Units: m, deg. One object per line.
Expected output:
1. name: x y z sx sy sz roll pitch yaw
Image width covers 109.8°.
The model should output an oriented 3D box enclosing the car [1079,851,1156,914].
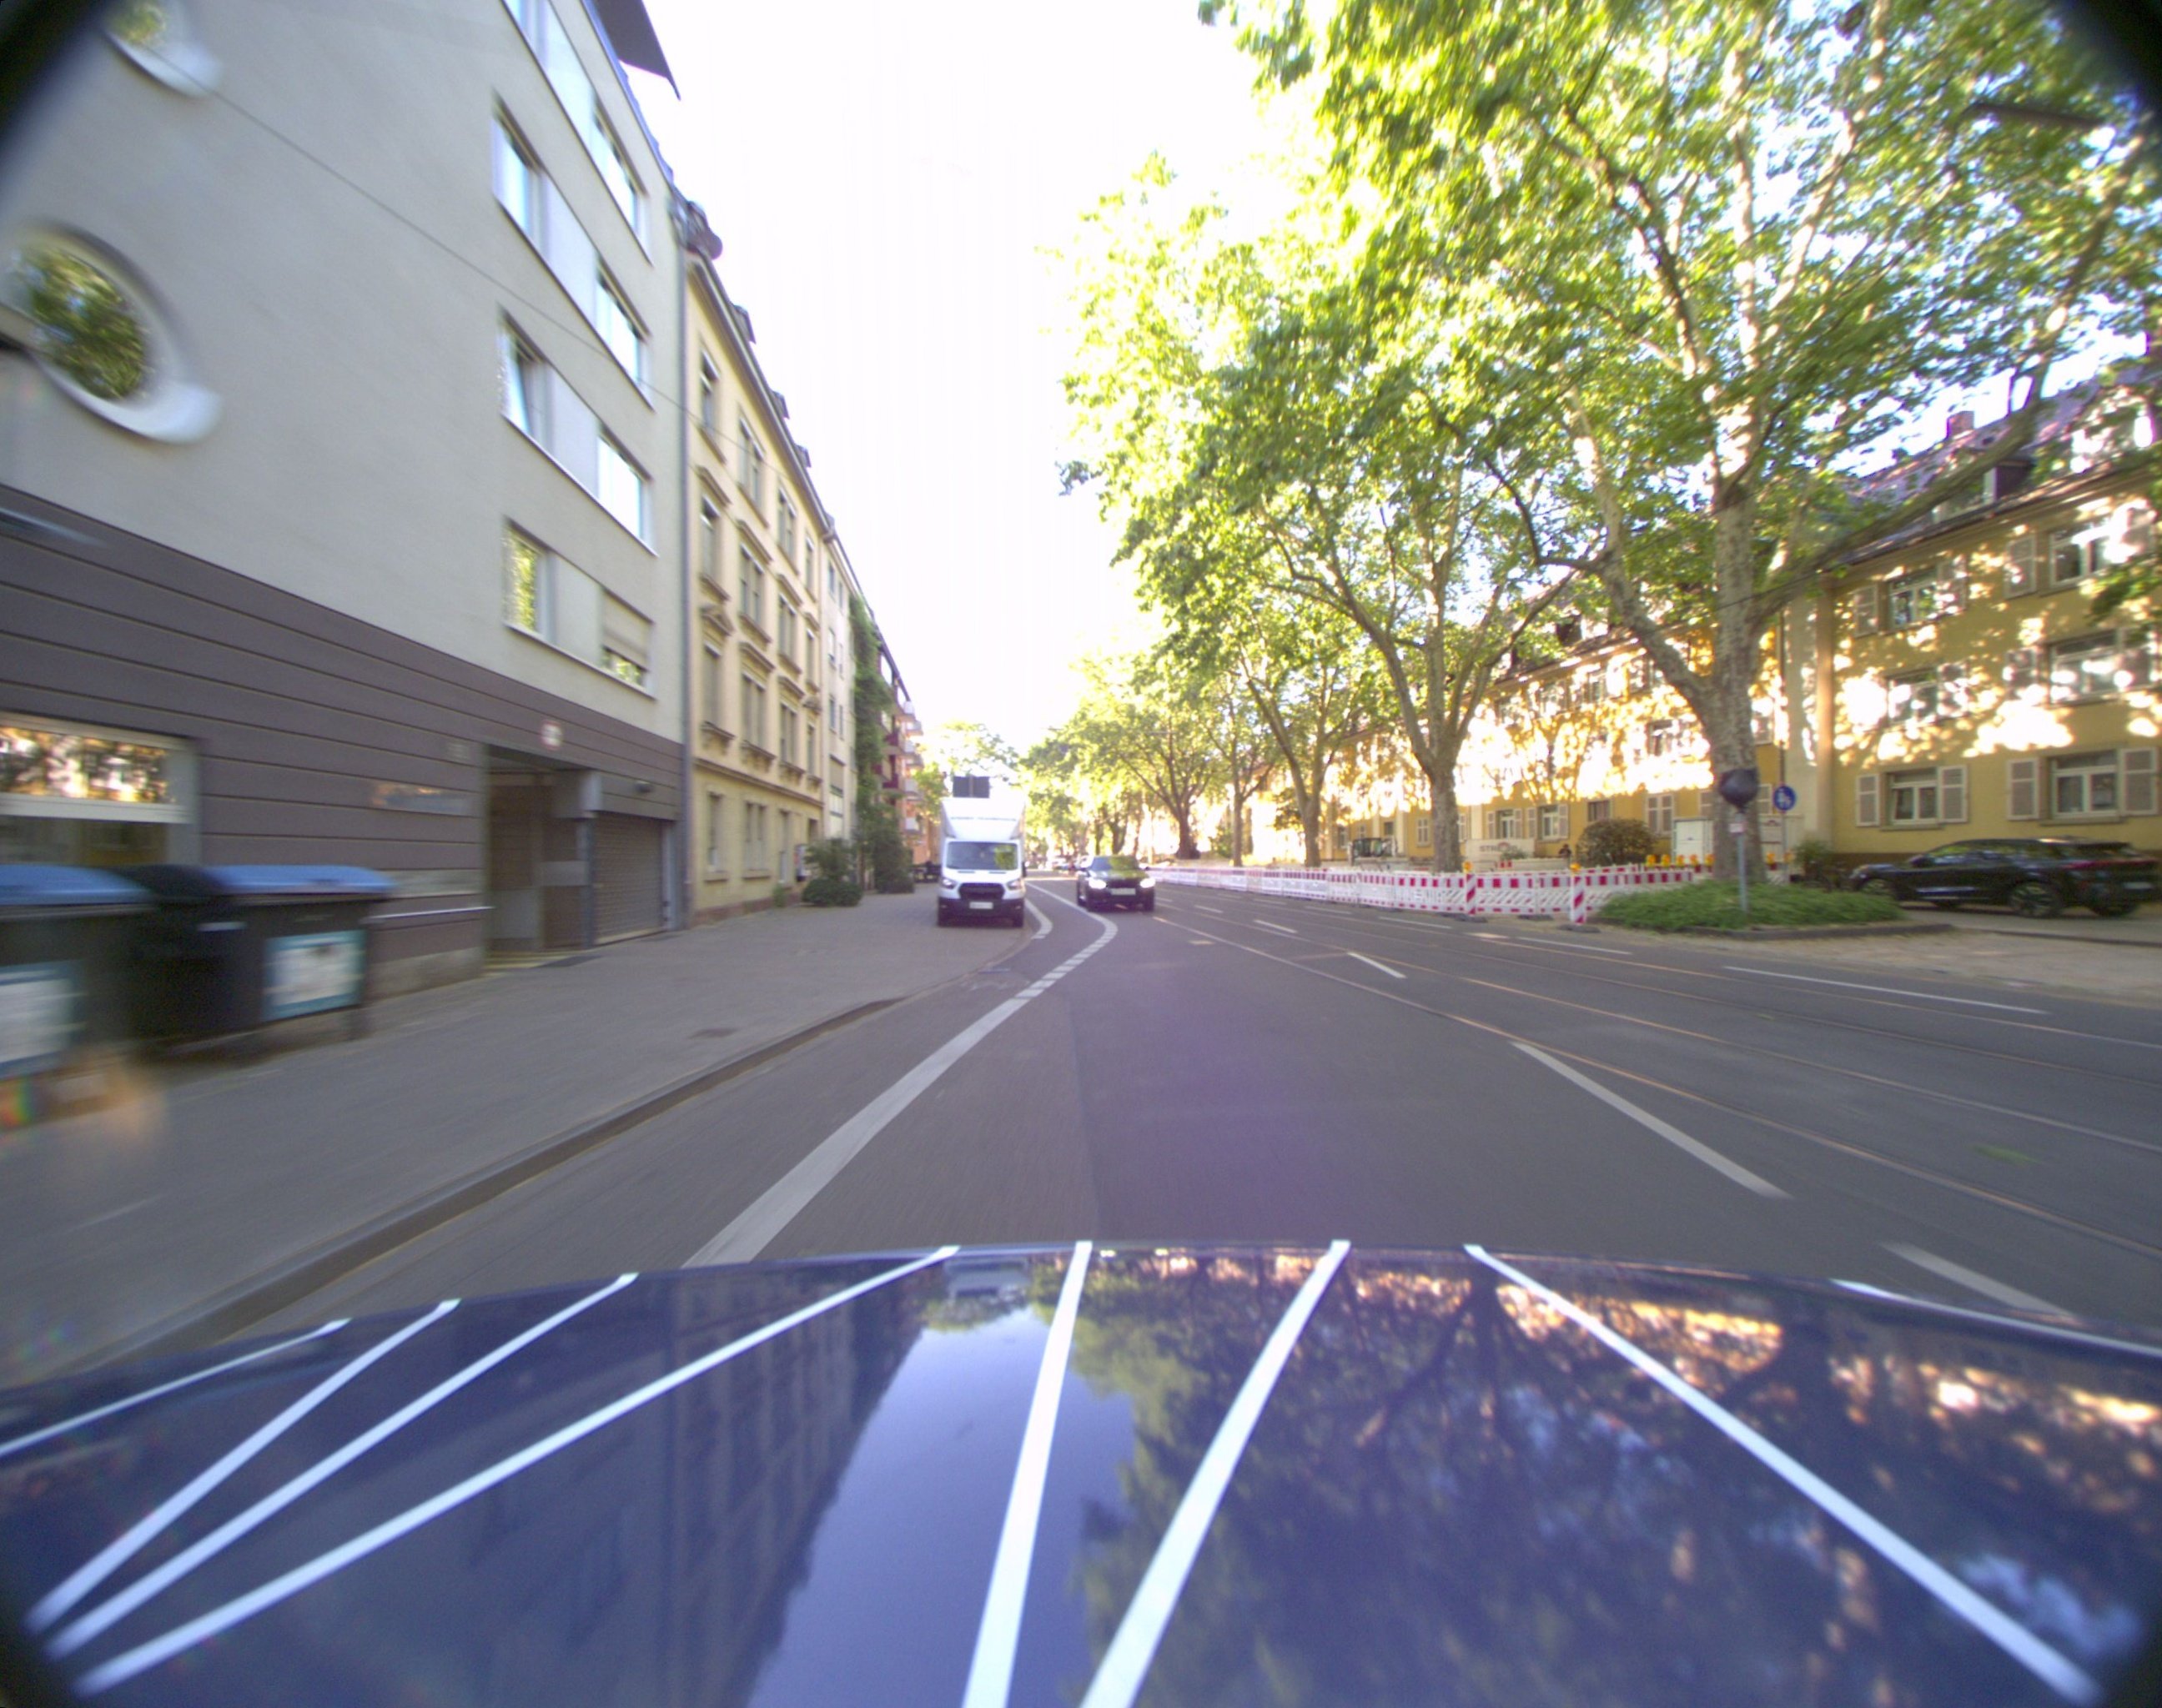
1. car: 1.025 0.812 23.694 1.943 1.733 4.473 -2 0 -3

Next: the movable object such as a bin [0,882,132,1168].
1. movable object such as a bin: -6.057 0.888 3.764 1.070 1.438 1.296 0 0 -5

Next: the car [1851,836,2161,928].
1. car: 19.219 0.503 15.863 1.830 1.592 4.219 -2 0 -4

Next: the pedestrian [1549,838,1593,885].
1. pedestrian: 21.443 0.315 33.278 1.099 2.002 1.234 0 0 -9

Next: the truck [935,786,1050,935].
1. truck: -2.652 0.175 20.924 2.386 3.165 8.521 3 0 -10

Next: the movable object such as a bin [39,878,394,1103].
1. movable object such as a bin: -6.271 0.917 5.648 1.123 1.437 1.306 0 0 -1

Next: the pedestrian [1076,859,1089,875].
1. pedestrian: 0.127 1.279 73.952 0.890 1.533 0.946 -1 0 -26

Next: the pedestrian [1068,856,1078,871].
1. pedestrian: -0.813 0.922 75.528 0.749 1.533 0.864 -1 0 -26
